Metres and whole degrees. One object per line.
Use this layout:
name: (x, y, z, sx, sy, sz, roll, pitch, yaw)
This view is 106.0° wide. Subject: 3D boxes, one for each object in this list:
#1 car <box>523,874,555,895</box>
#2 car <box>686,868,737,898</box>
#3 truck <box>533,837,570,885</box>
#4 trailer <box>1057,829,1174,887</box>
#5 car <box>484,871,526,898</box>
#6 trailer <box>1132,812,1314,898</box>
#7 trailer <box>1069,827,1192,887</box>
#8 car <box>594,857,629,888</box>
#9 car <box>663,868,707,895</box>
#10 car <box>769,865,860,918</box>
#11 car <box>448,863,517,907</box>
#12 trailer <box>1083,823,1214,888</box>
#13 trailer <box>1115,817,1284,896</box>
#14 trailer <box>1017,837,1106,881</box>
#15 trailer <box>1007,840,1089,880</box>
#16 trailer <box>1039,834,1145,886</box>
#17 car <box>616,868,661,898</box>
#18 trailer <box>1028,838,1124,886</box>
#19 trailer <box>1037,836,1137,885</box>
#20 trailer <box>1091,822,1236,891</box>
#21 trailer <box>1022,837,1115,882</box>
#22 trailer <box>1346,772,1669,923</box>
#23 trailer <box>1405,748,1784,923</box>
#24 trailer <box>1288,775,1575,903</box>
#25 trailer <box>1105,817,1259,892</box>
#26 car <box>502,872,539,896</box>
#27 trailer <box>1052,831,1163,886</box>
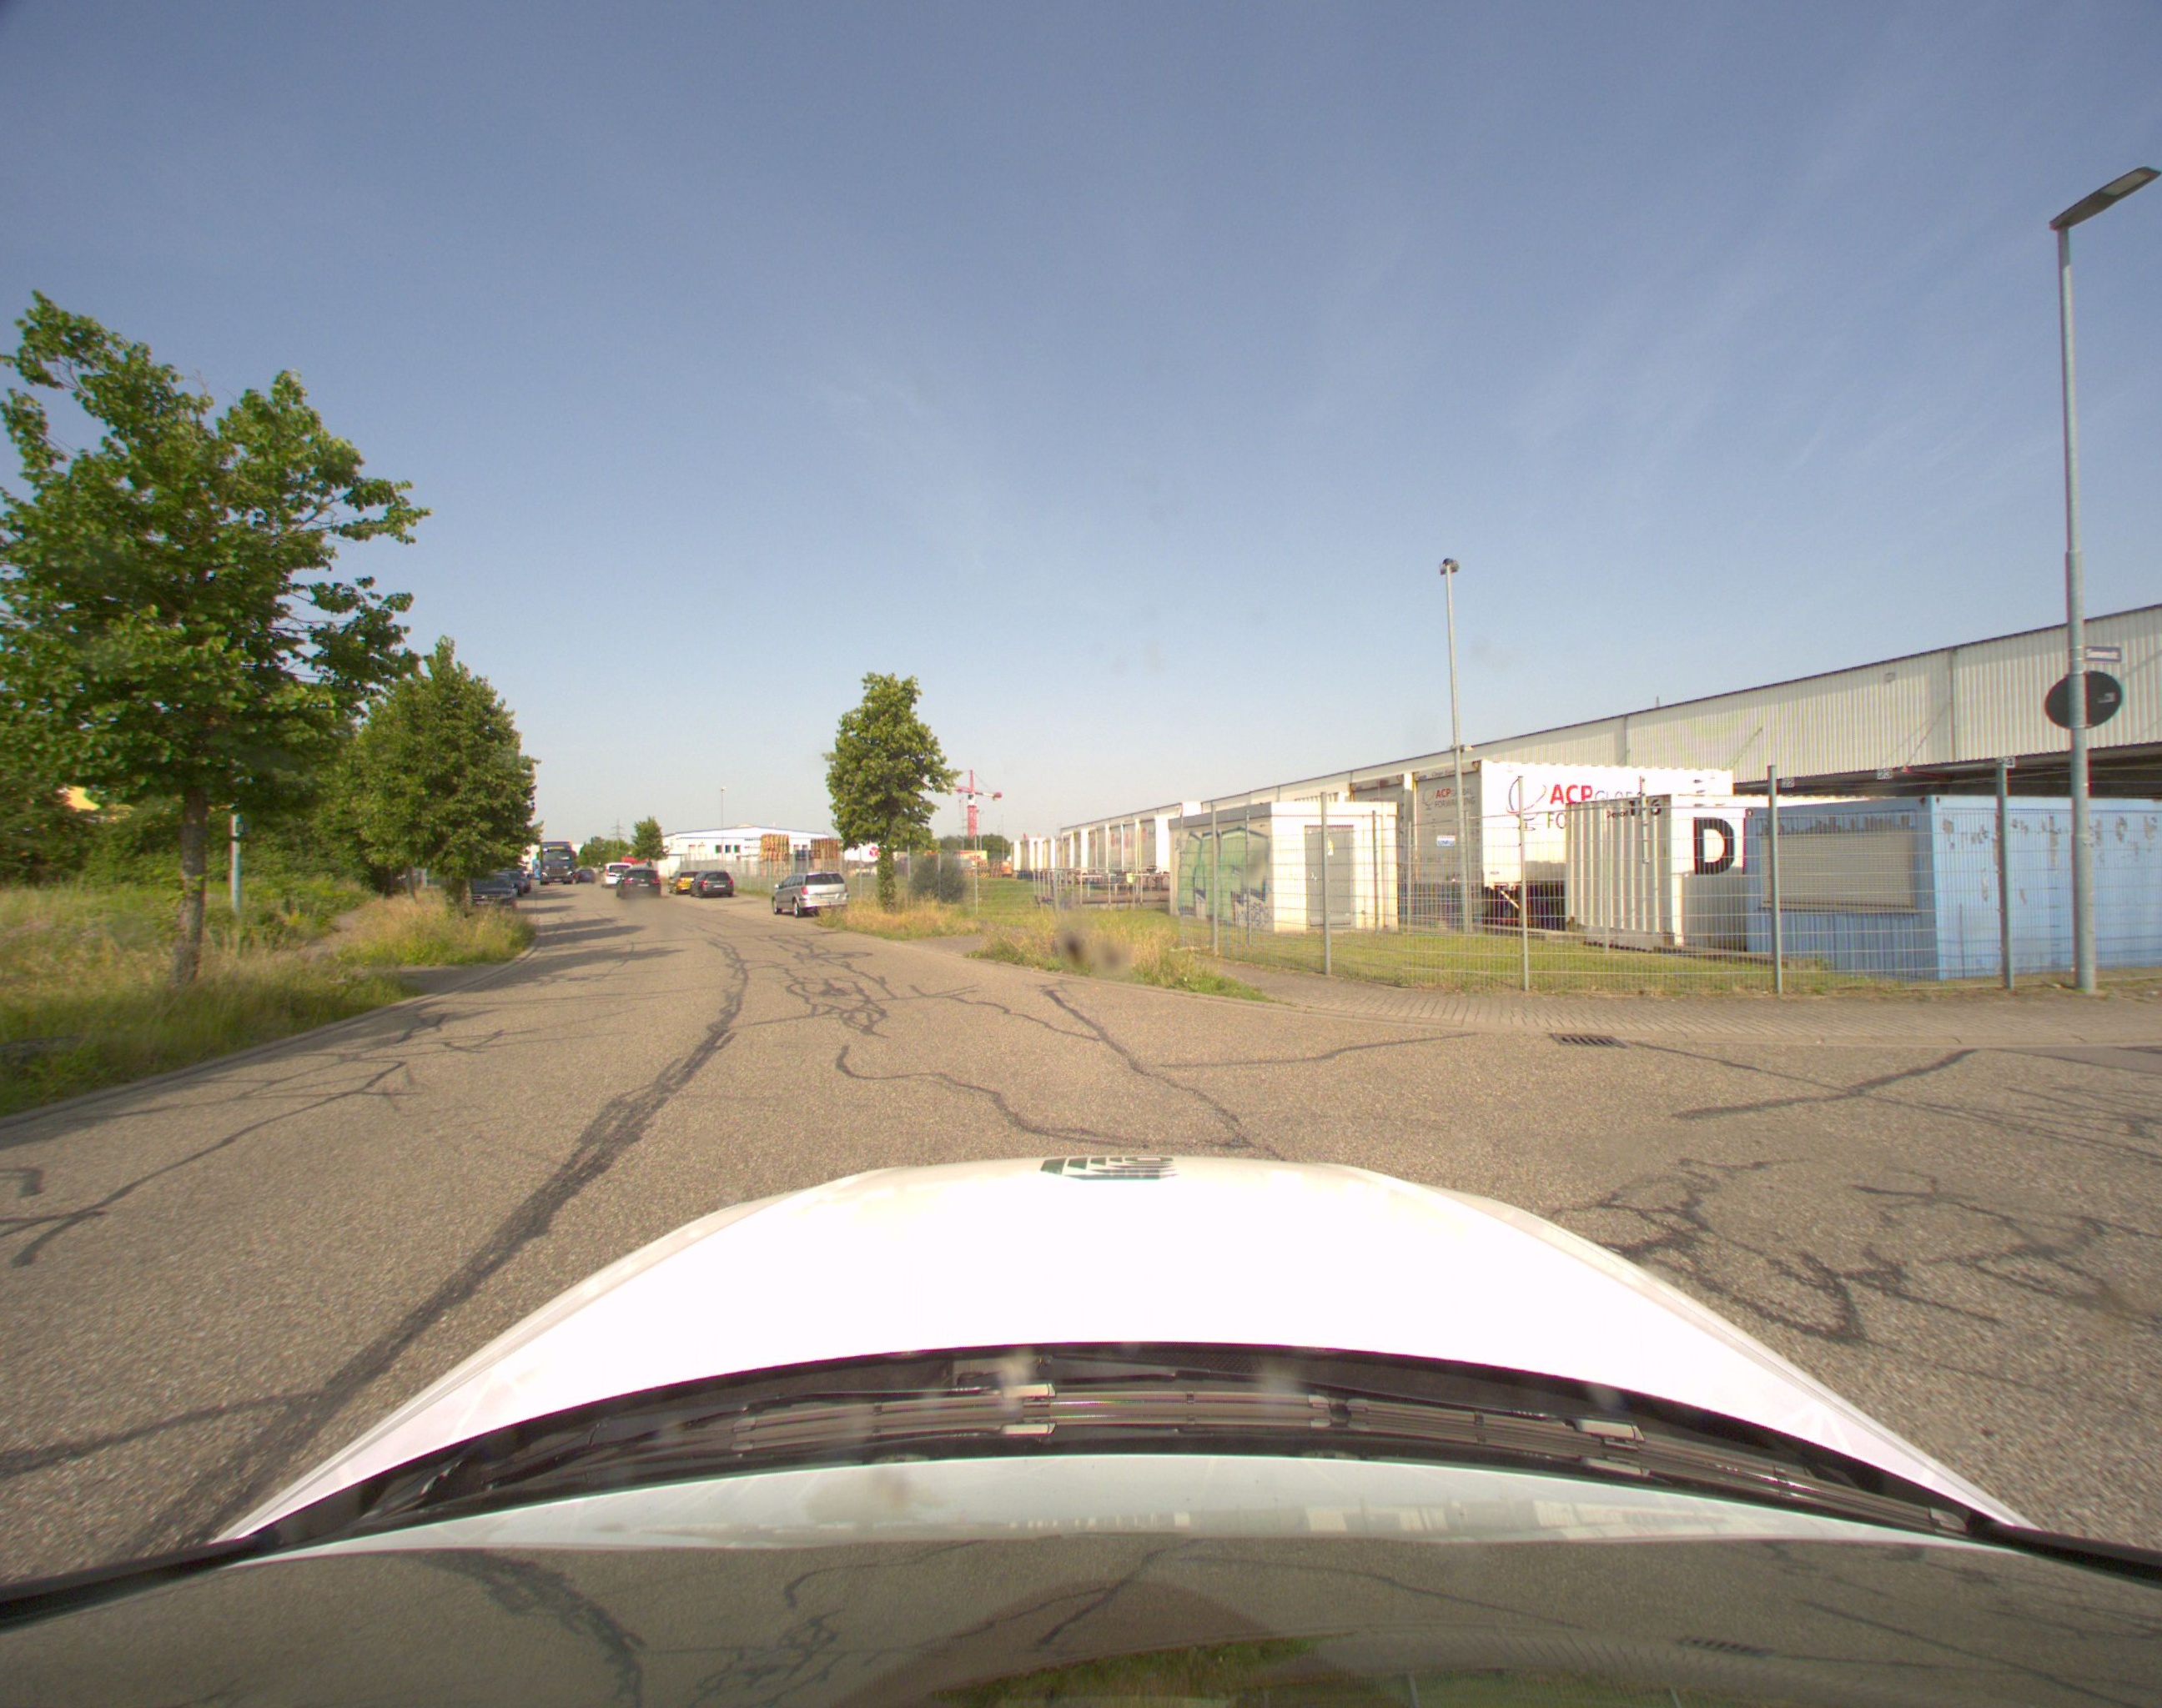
car: (-39.574, 2.200, 59.475, 1.846, 1.496, 4.007, 2, -2, -33)
car: (-20.468, 1.571, 45.025, 1.728, 1.515, 3.959, -2, 0, -36)
truck: (-50.000, 0.662, 76.804, 2.517, 4.145, 10.267, -2, 0, -35)
trailer: (2.514, 0.291, 59.083, 7.978, 3.894, 2.761, 2, -1, -16)
car: (-33.754, 1.753, 47.790, 1.846, 1.496, 4.007, 2, -2, -33)
trailer: (7.043, 0.109, 40.602, 8.552, 3.894, 2.761, 2, -1, -16)
trailer: (3.416, 0.237, 56.275, 7.978, 3.894, 2.761, 2, -1, -16)
car: (-34.355, 1.338, 59.522, 2.135, 2.110, 4.579, 0, -1, -31)
car: (-24.062, 1.631, 49.423, 1.728, 1.455, 4.141, -2, 0, -35)
car: (-9.344, 1.226, 28.332, 1.812, 1.626, 4.401, -2, 0, -34)
car: (-23.809, 1.200, 32.529, 1.916, 1.626, 4.403, 2, -2, -33)
trailer: (4.403, 0.144, 53.471, 8.048, 3.894, 2.761, 2, -1, -16)
trailer: (6.362, 0.172, 43.661, 8.552, 3.894, 2.761, 2, -1, -16)
trailer: (-1.890, 0.498, 77.574, 7.978, 3.894, 2.761, 2, -1, -16)
trailer: (-3.391, 0.642, 83.386, 7.978, 3.894, 2.728, 2, -1, -16)
trailer: (0.884, 0.499, 65.136, 7.978, 3.894, 2.761, 2, -1, -16)
car: (-24.553, 1.578, 45.106, 1.894, 1.586, 4.071, 0, -1, -33)
trailer: (-0.435, 0.731, 71.600, 7.978, 3.894, 2.761, 2, -1, -16)
trailer: (0.489, 0.550, 69.028, 7.978, 3.894, 2.761, 2, -1, -16)
trailer: (5.001, 0.198, 49.547, 8.323, 3.894, 2.761, 2, -1, -16)
trailer: (-1.155, 0.501, 74.748, 7.978, 3.894, 2.761, 2, -1, -16)
trailer: (12.225, -0.228, 23.467, 8.548, 3.894, 2.762, -1, -1, -14)
trailer: (12.779, -0.364, 20.447, 8.546, 3.894, 2.762, 0, -3, -14)
trailer: (11.306, -0.398, 26.369, 8.748, 3.761, 2.776, 0, -1, -16)
trailer: (5.764, 0.079, 46.597, 8.323, 3.894, 2.761, 2, -1, -16)
car: (-36.267, 1.939, 52.767, 1.846, 1.496, 4.007, 2, -2, -33)
trailer: (1.990, 0.337, 62.173, 7.978, 3.894, 2.761, 2, -1, -16)
